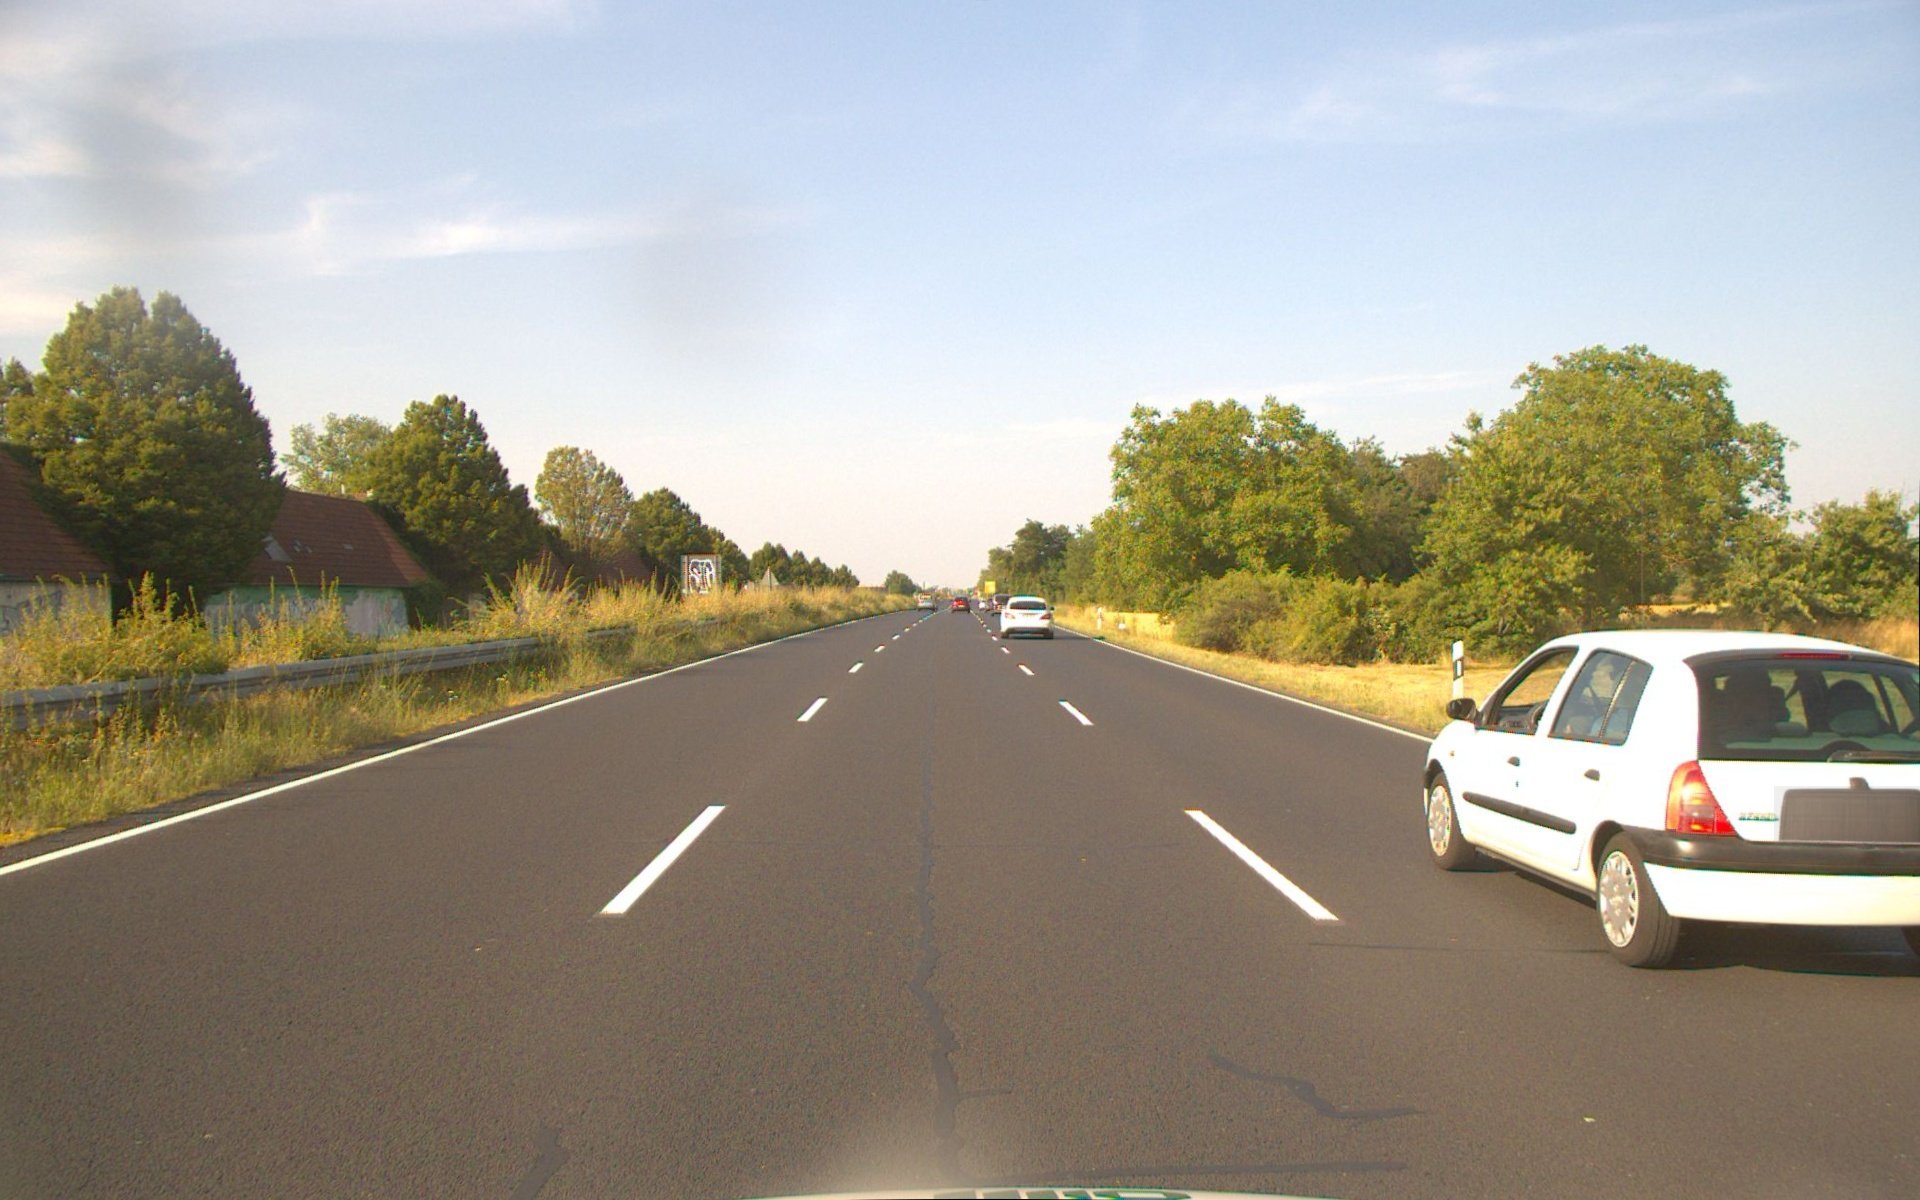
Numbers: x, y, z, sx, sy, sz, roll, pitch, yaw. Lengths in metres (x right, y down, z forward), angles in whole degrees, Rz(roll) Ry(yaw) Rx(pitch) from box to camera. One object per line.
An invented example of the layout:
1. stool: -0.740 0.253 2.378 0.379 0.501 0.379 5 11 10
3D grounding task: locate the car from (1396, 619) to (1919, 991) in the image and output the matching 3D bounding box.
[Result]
1. car: 3.533 0.821 8.339 1.584 1.411 3.950 1 -1 -1

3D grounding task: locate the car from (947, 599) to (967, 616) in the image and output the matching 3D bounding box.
1. car: -0.275 0.717 153.213 1.775 1.461 3.857 1 -1 -1

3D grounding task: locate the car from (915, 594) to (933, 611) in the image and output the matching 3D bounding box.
1. car: -3.875 0.278 177.576 1.722 1.646 4.000 1 -1 2

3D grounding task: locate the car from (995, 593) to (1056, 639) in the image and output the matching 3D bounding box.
1. car: 2.286 0.583 58.418 1.953 1.543 3.999 1 -1 0

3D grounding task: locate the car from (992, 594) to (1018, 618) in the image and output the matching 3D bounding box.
1. car: 3.456 0.455 127.526 1.790 1.758 3.999 1 -1 0

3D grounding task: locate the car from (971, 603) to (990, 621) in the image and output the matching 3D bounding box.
1. car: 2.065 1.191 165.309 1.796 1.747 3.862 1 -1 0
